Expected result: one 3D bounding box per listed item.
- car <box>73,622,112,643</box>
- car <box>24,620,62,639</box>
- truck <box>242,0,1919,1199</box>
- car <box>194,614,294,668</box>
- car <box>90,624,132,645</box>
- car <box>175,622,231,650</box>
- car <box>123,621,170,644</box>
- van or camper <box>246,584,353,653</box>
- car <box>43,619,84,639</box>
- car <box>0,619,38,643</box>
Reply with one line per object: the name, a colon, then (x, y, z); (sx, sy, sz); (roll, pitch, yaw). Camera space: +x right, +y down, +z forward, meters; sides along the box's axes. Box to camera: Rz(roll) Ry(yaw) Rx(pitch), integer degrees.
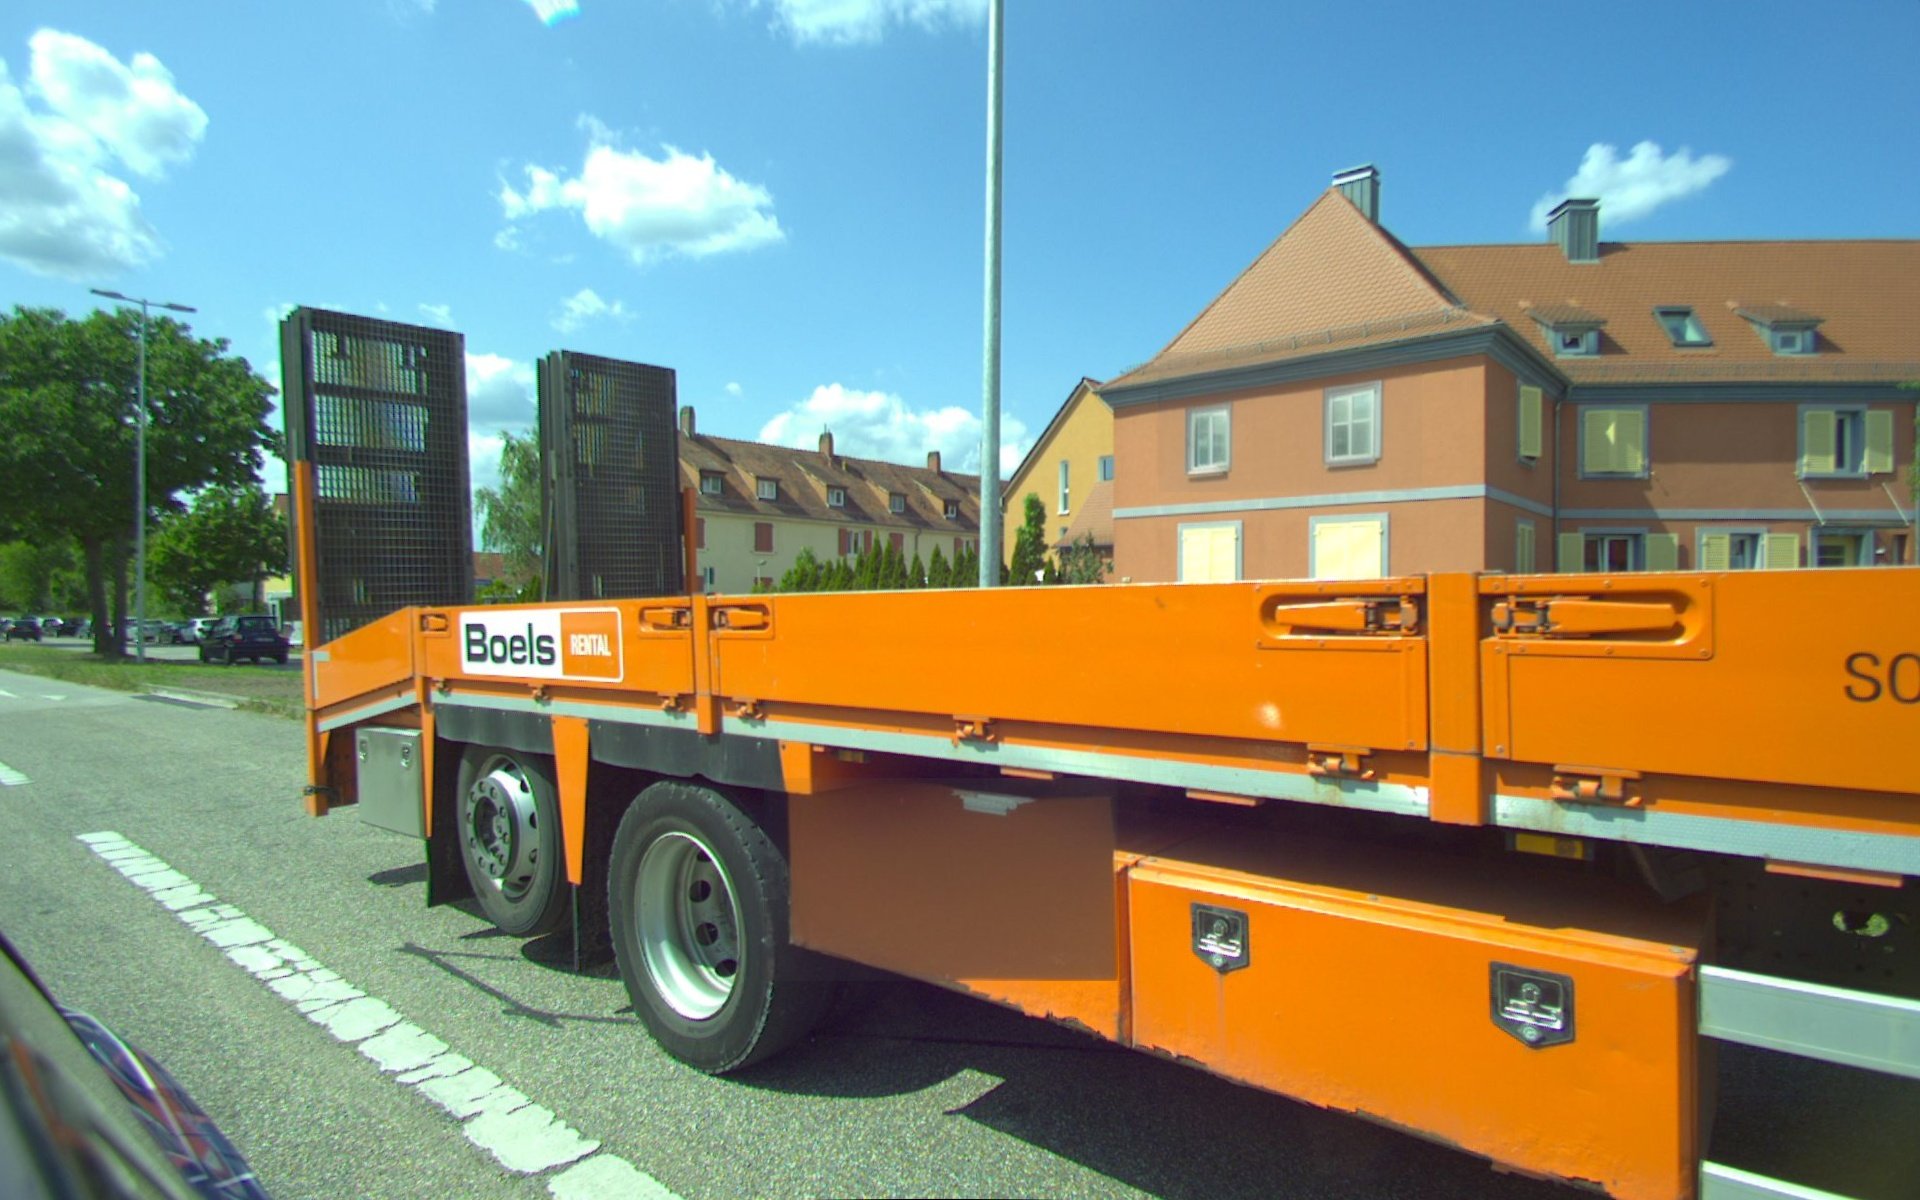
car: (-65.033, 2.441, 75.877); (3.472, 1.405, 1.548); (0, 2, 38)
car: (-77.705, 2.474, 85.767); (3.840, 1.462, 1.645); (0, 2, 37)
truck: (1.142, -0.375, 3.218); (11.063, 3.439, 3.039); (0, 2, 41)
car: (-23.932, 1.335, 33.775); (3.997, 1.702, 1.776); (-1, -1, 40)
car: (-61.443, 2.474, 73.238); (4.350, 1.405, 1.389); (-1, 1, 38)
car: (-44.298, 2.080, 59.227); (4.120, 1.496, 1.672); (0, 2, 40)
car: (-53.474, 2.118, 66.491); (4.527, 1.380, 1.496); (-1, 1, 40)
van or camper: (-32.433, 0.896, 49.574); (7.313, 3.135, 2.236); (-2, 1, 40)
car: (-71.707, 2.287, 80.947); (4.096, 1.492, 1.645); (-1, 1, 37)
car: (-60.528, 1.933, 64.604); (4.570, 1.449, 1.754); (0, -1, 38)
